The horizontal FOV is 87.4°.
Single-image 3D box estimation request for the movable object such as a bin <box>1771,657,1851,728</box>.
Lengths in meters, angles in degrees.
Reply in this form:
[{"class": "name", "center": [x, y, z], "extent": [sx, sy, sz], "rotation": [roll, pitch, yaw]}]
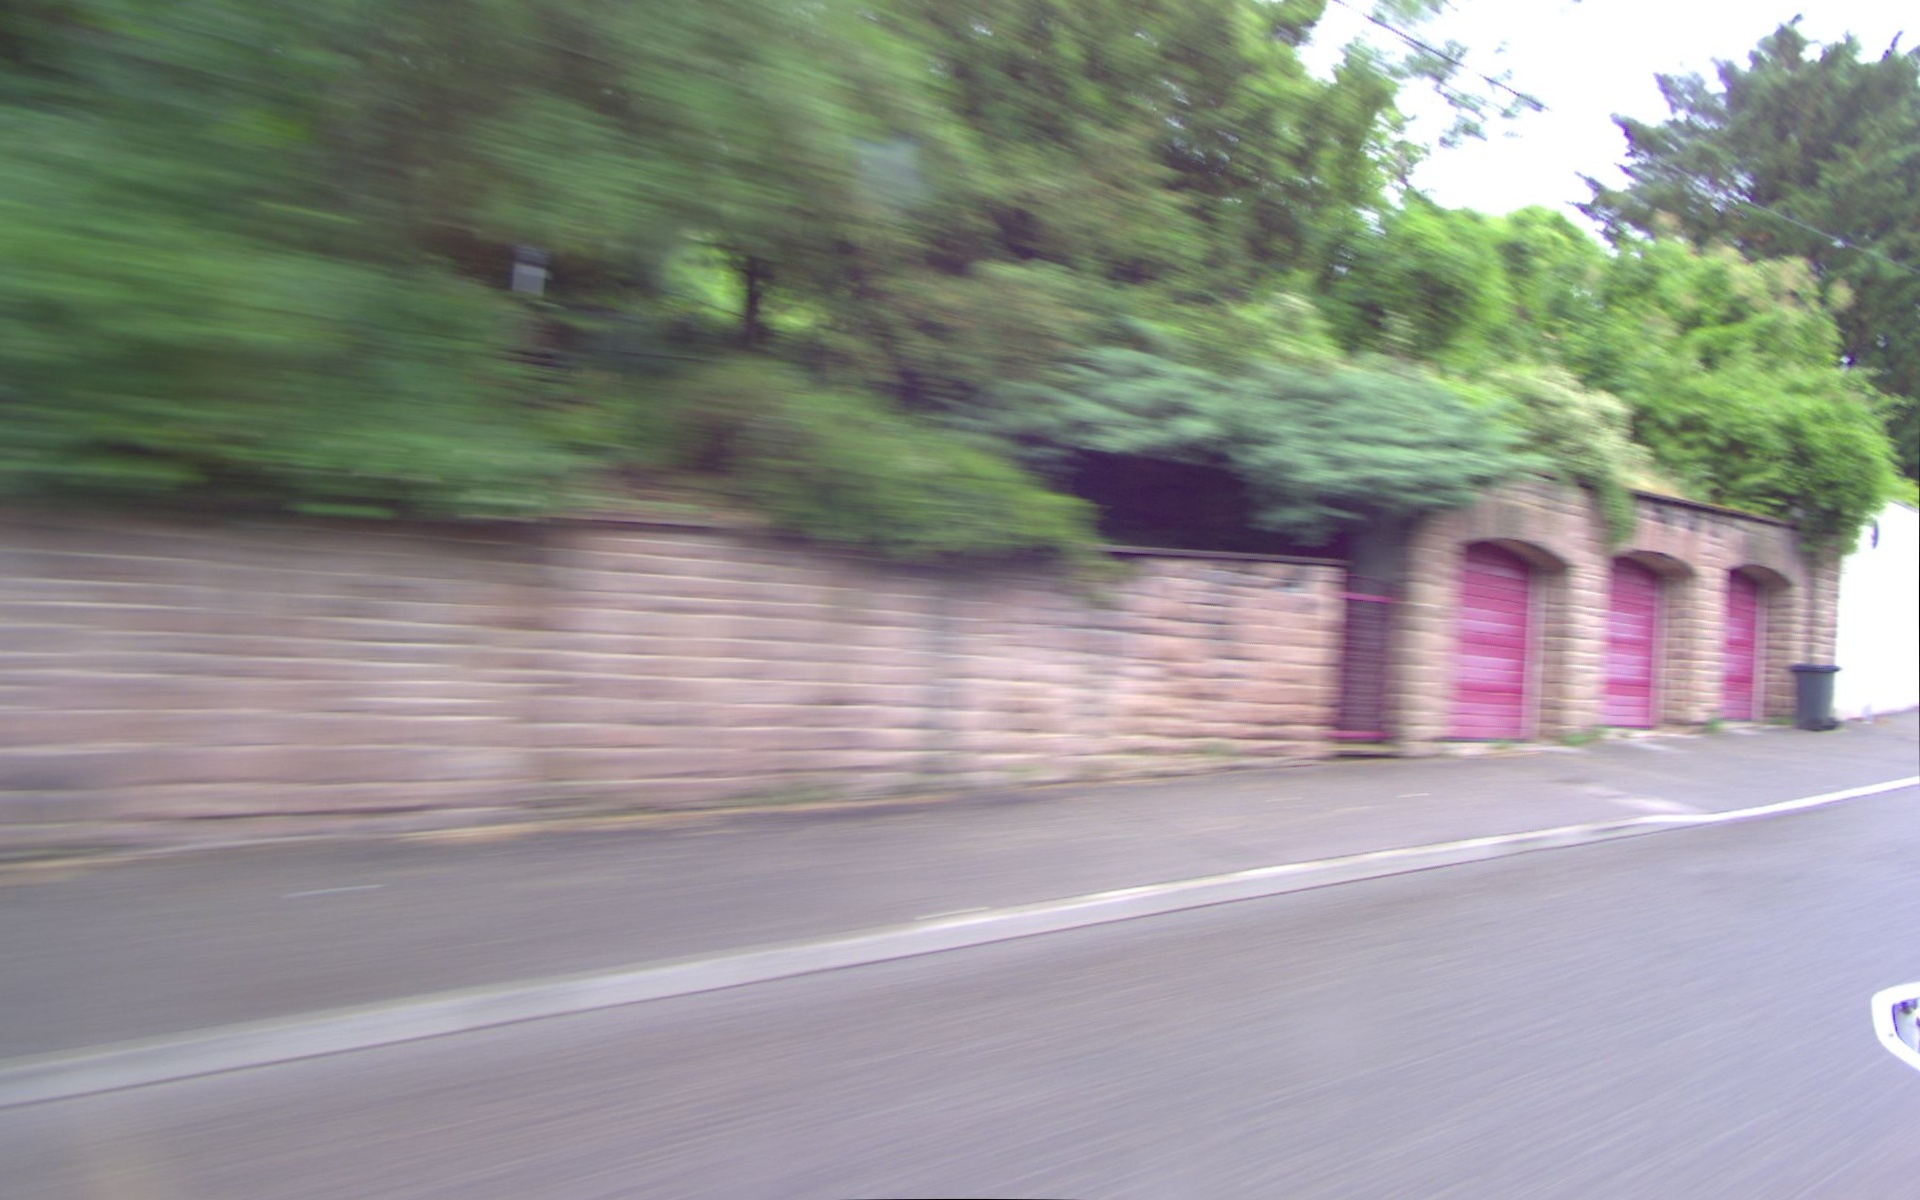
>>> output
[{"class": "movable object such as a bin", "center": [12.208, 1.311, 14.412], "extent": [0.669, 0.932, 0.655], "rotation": [1, 1, -30]}]
